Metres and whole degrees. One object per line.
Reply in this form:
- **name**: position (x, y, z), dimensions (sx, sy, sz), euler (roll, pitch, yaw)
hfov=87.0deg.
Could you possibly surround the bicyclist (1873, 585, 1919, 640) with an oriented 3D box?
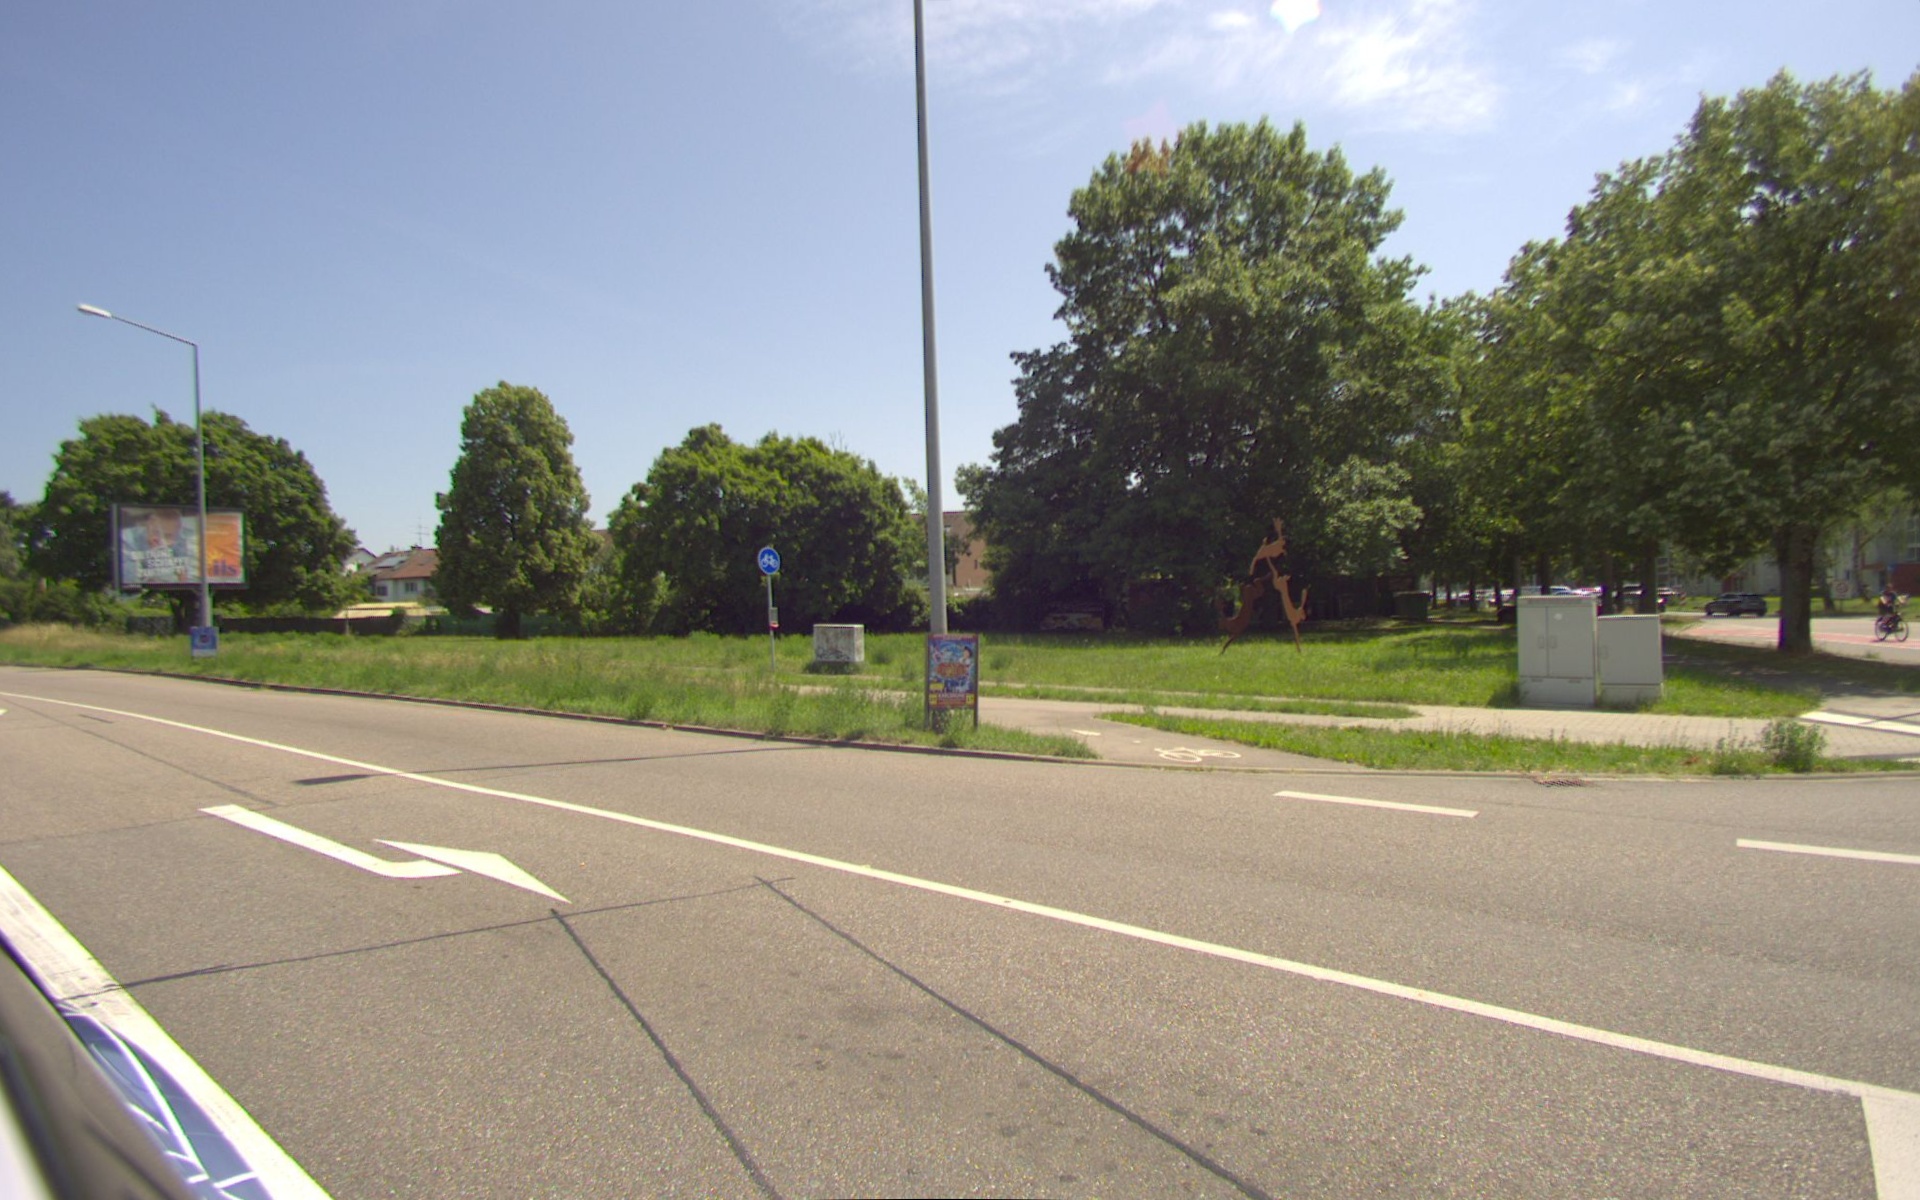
- **bicyclist**: position (29.977, 0.390, 32.375), dimensions (0.767, 1.705, 0.893), euler (-1, -1, 18)

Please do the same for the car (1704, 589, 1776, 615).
- **car**: position (47.354, 0.111, 61.537), dimensions (1.896, 1.510, 4.604), euler (-1, 0, 17)

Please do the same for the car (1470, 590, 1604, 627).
- **car**: position (24.793, 0.395, 43.659), dimensions (1.966, 1.479, 4.597), euler (-1, -1, -32)

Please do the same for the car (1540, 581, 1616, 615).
- **car**: position (41.371, -0.149, 67.819), dimensions (3.971, 2.028, 1.987), euler (-2, 3, 21)

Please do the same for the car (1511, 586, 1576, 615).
- **car**: position (44.603, 0.027, 77.460), dimensions (3.971, 2.028, 1.987), euler (-2, 3, 21)

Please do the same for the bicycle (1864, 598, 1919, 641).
- **bicycle**: position (29.970, 0.612, 32.355), dimensions (0.767, 1.309, 2.049), euler (-1, 0, 18)

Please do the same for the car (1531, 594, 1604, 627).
- **car**: position (42.175, 0.718, 70.334), dimensions (3.971, 2.028, 1.987), euler (-2, 3, 21)
